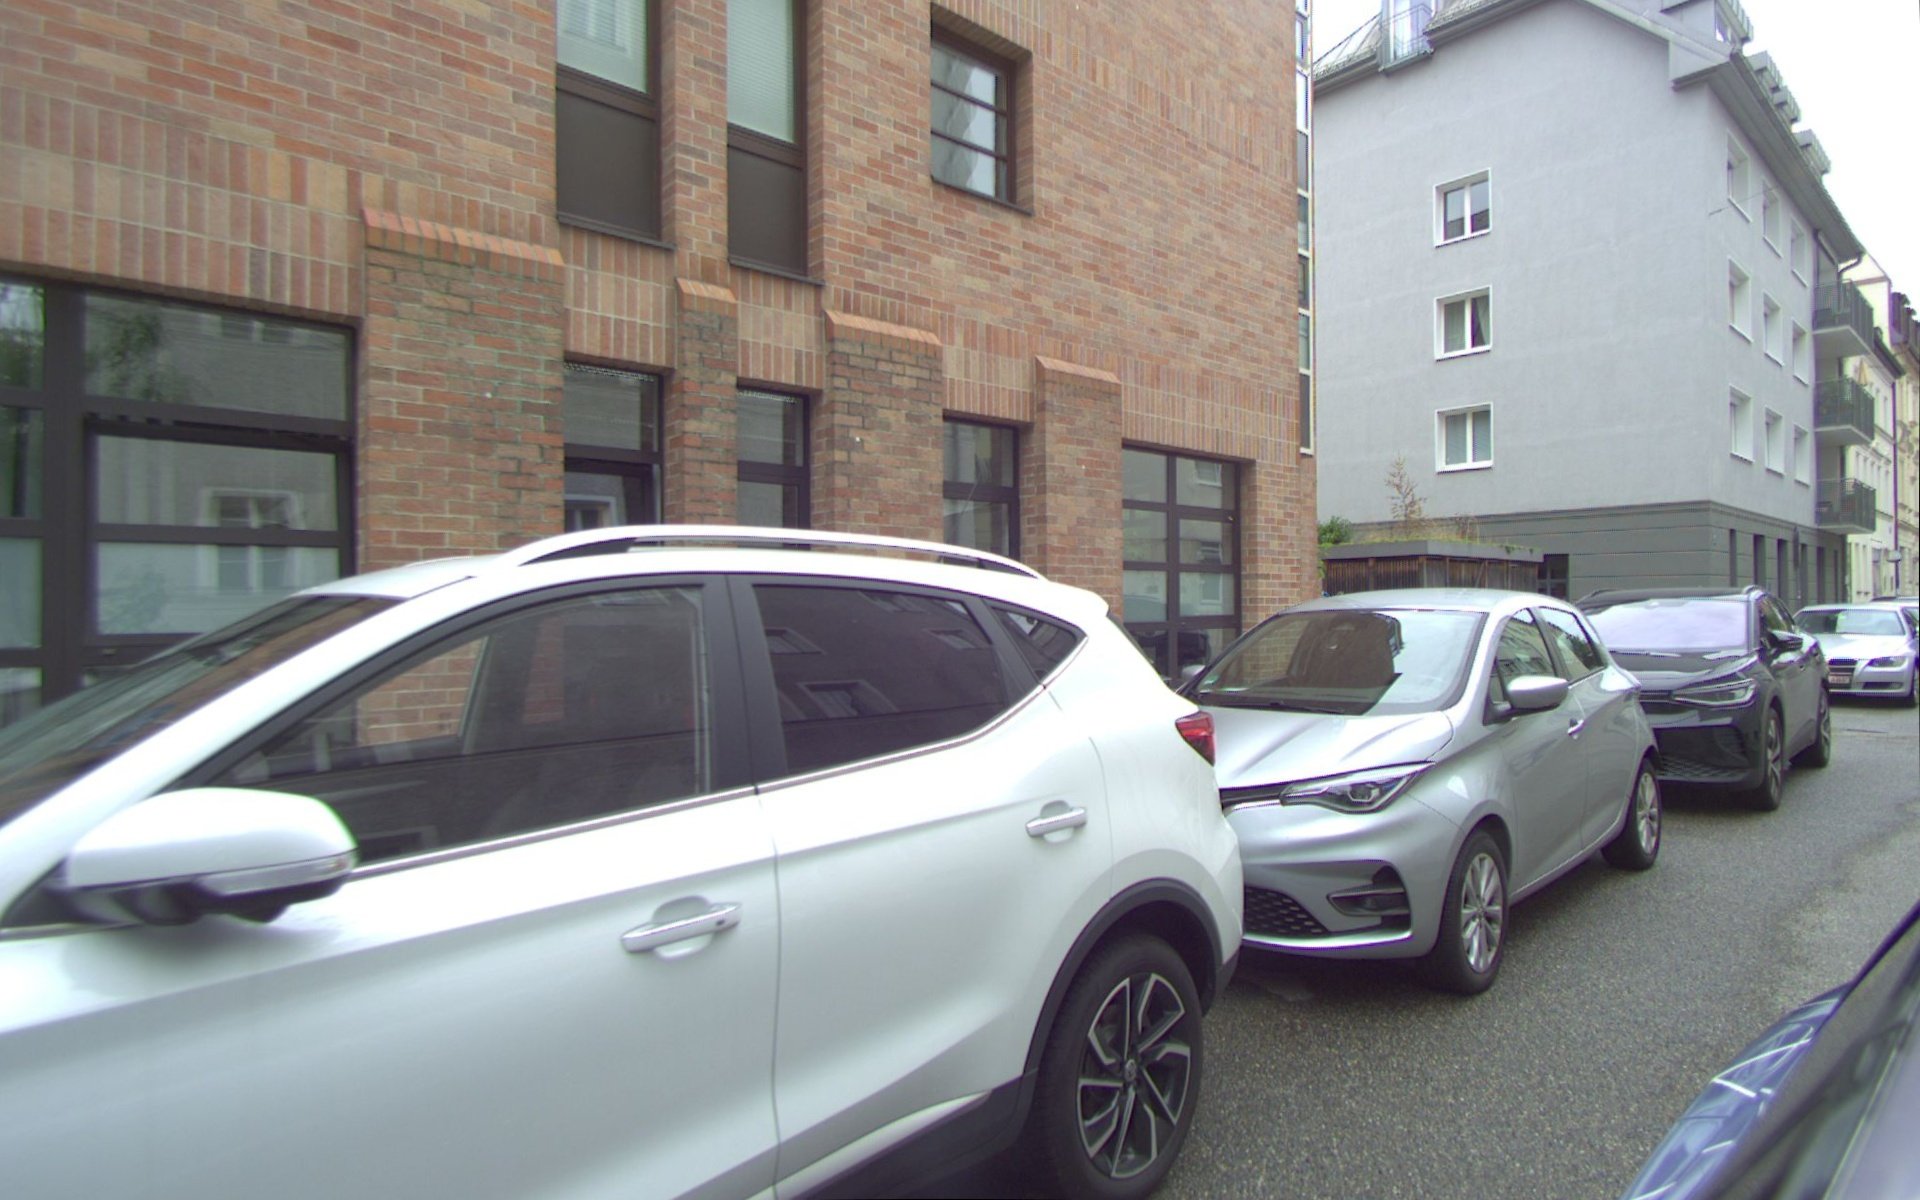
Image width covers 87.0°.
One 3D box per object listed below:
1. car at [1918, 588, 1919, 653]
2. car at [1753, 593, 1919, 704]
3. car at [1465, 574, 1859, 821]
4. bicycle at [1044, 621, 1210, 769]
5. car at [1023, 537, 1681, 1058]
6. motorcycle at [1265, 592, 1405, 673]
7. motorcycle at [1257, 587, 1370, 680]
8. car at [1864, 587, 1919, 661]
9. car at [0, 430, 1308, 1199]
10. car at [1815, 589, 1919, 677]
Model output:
[{"bbox_3d":[24.916,0.457,24.744,4.219,1.548,1.842,0,-1,-42],"label":"car"},{"bbox_3d":[13.623,0.626,15.288,4.522,1.435,1.839,0,-1,-42],"label":"car"},{"bbox_3d":[6.142,0.618,8.635,4.318,1.575,1.887,0,-1,-43],"label":"car"},{"bbox_3d":[1.412,0.740,8.432,1.446,1.093,0.560,0,-1,-41],"label":"bicycle"},{"bbox_3d":[2.237,0.589,5.173,3.818,1.656,1.722,-1,1,-44],"label":"car"},{"bbox_3d":[6.720,0.540,18.314,0.540,1.360,2.523,-1,1,-35],"label":"motorcycle"},{"bbox_3d":[5.506,0.489,15.710,1.901,1.361,0.542,-1,1,-30],"label":"motorcycle"},{"bbox_3d":[20.895,0.489,21.985,3.147,1.531,1.523,0,-1,-42],"label":"car"},{"bbox_3d":[-1.070,0.641,2.190,4.126,1.651,1.750,0,0,-43],"label":"car"},{"bbox_3d":[17.242,0.542,18.638,4.079,1.480,1.747,0,-1,-42],"label":"car"}]
